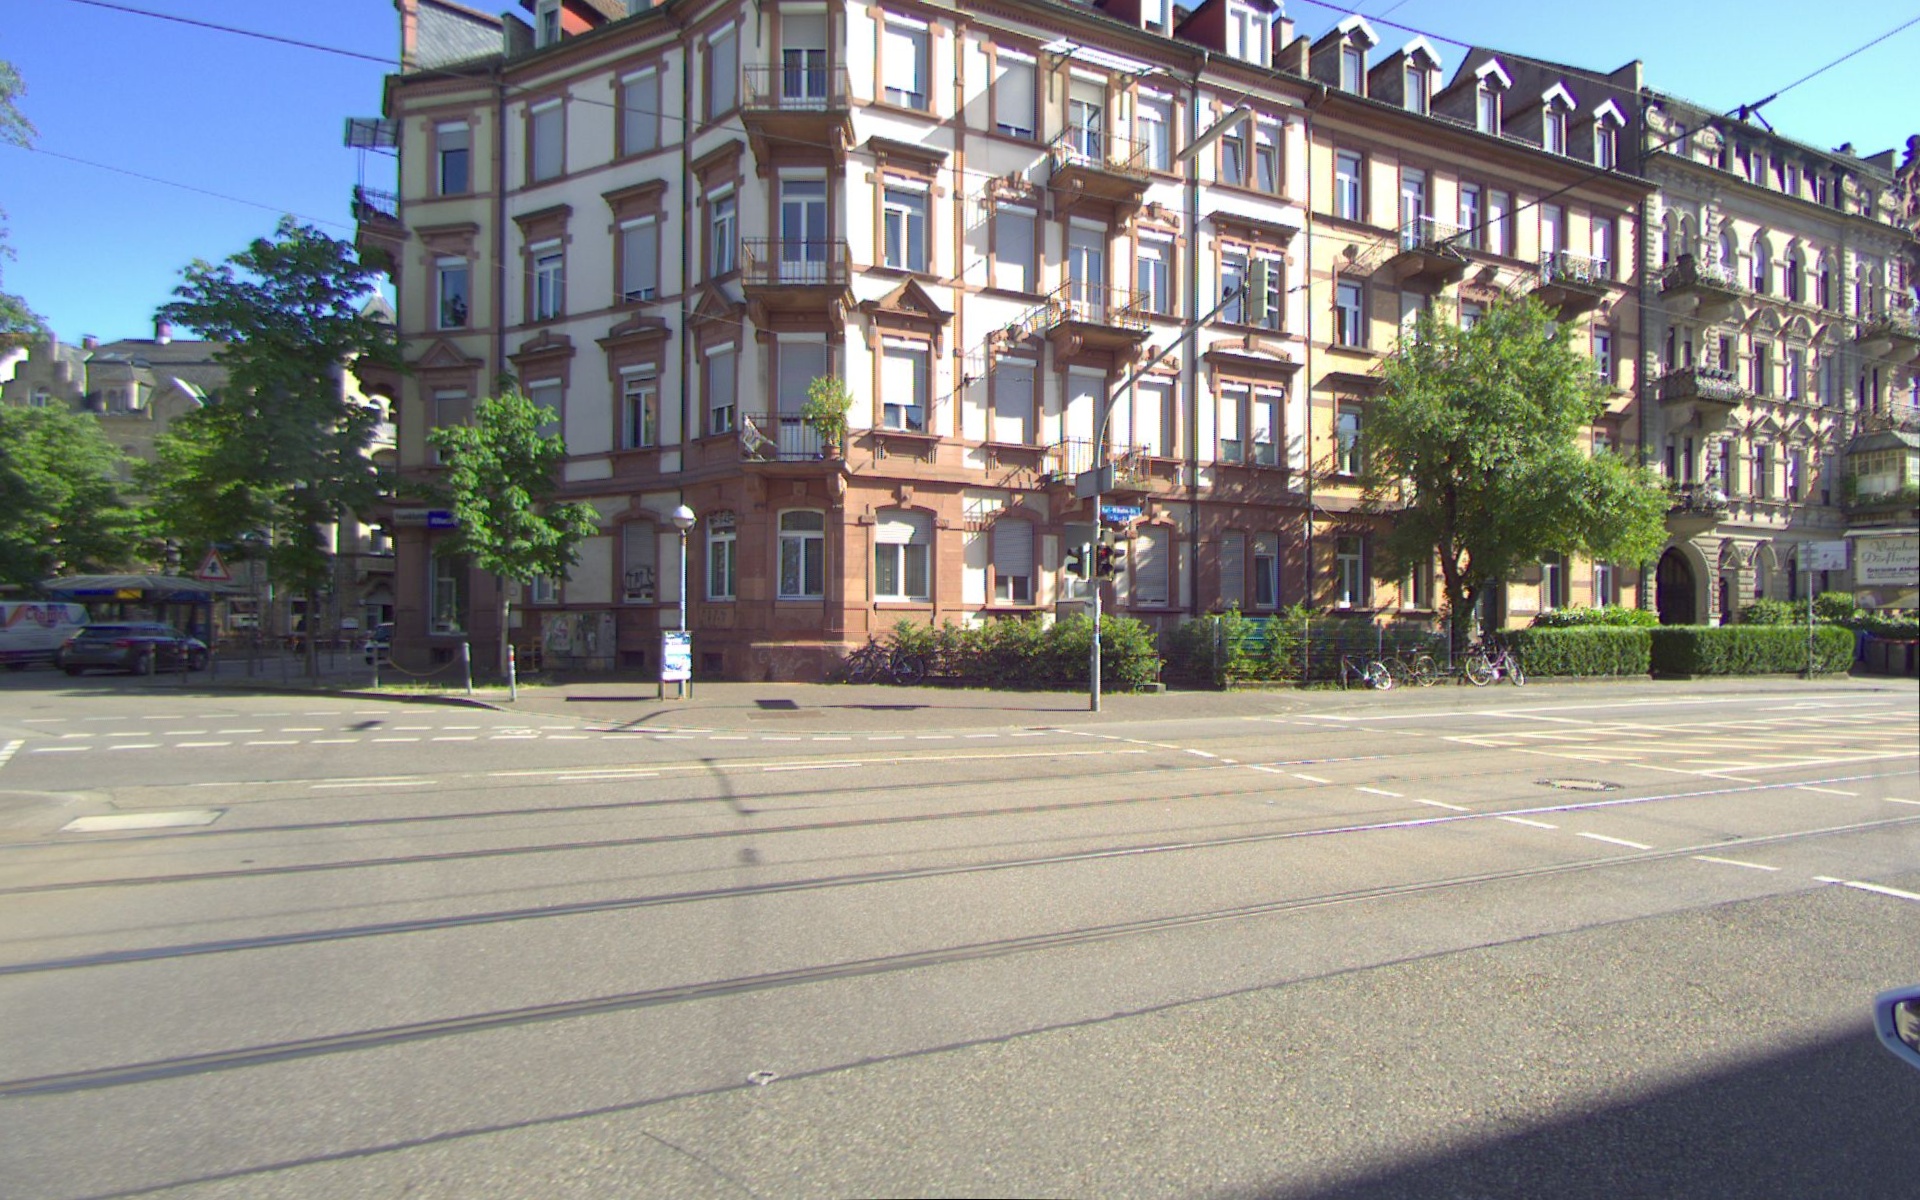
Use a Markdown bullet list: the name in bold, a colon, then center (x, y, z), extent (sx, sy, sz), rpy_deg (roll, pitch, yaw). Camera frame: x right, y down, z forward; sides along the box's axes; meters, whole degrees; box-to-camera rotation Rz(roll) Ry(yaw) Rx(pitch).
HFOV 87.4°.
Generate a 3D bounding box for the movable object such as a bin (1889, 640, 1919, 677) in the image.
- **movable object such as a bin**: center (29.287, 1.805, 31.165), extent (0.533, 1.100, 0.478), rpy_deg (1, 0, -22)

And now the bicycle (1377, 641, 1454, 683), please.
- **bicycle**: center (10.479, 1.415, 23.073), extent (1.913, 0.938, 0.341), rpy_deg (1, 0, -20)

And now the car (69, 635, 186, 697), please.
- **car**: center (-22.808, 1.749, 27.648), extent (1.557, 1.461, 3.436), rpy_deg (1, 0, -24)

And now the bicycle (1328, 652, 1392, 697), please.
- **bicycle**: center (8.733, 1.618, 21.925), extent (1.430, 0.938, 0.341), rpy_deg (1, 0, -20)

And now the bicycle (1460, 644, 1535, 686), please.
- **bicycle**: center (12.549, 1.513, 23.448), extent (1.913, 0.938, 0.341), rpy_deg (1, 0, -20)

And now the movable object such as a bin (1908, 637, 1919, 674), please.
- **movable object such as a bin**: center (29.070, 1.675, 30.306), extent (0.533, 1.100, 0.478), rpy_deg (1, 0, -22)

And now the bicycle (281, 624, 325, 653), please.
- **bicycle**: center (-24.555, 1.427, 37.582), extent (0.563, 1.006, 1.549), rpy_deg (1, 0, 2)

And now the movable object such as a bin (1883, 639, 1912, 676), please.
- **movable object such as a bin**: center (28.803, 1.751, 30.866), extent (0.533, 1.100, 0.478), rpy_deg (1, 0, -22)

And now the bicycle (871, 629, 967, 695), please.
- **bicycle**: center (-0.876, 1.294, 21.320), extent (2.005, 1.313, 0.420), rpy_deg (1, 0, 18)

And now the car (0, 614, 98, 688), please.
- **car**: center (-27.173, 1.403, 28.021), extent (1.887, 1.968, 4.859), rpy_deg (1, 0, 4)

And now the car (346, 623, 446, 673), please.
- **car**: center (-20.319, 1.685, 36.323), extent (1.681, 1.623, 3.456), rpy_deg (1, 0, -1)
